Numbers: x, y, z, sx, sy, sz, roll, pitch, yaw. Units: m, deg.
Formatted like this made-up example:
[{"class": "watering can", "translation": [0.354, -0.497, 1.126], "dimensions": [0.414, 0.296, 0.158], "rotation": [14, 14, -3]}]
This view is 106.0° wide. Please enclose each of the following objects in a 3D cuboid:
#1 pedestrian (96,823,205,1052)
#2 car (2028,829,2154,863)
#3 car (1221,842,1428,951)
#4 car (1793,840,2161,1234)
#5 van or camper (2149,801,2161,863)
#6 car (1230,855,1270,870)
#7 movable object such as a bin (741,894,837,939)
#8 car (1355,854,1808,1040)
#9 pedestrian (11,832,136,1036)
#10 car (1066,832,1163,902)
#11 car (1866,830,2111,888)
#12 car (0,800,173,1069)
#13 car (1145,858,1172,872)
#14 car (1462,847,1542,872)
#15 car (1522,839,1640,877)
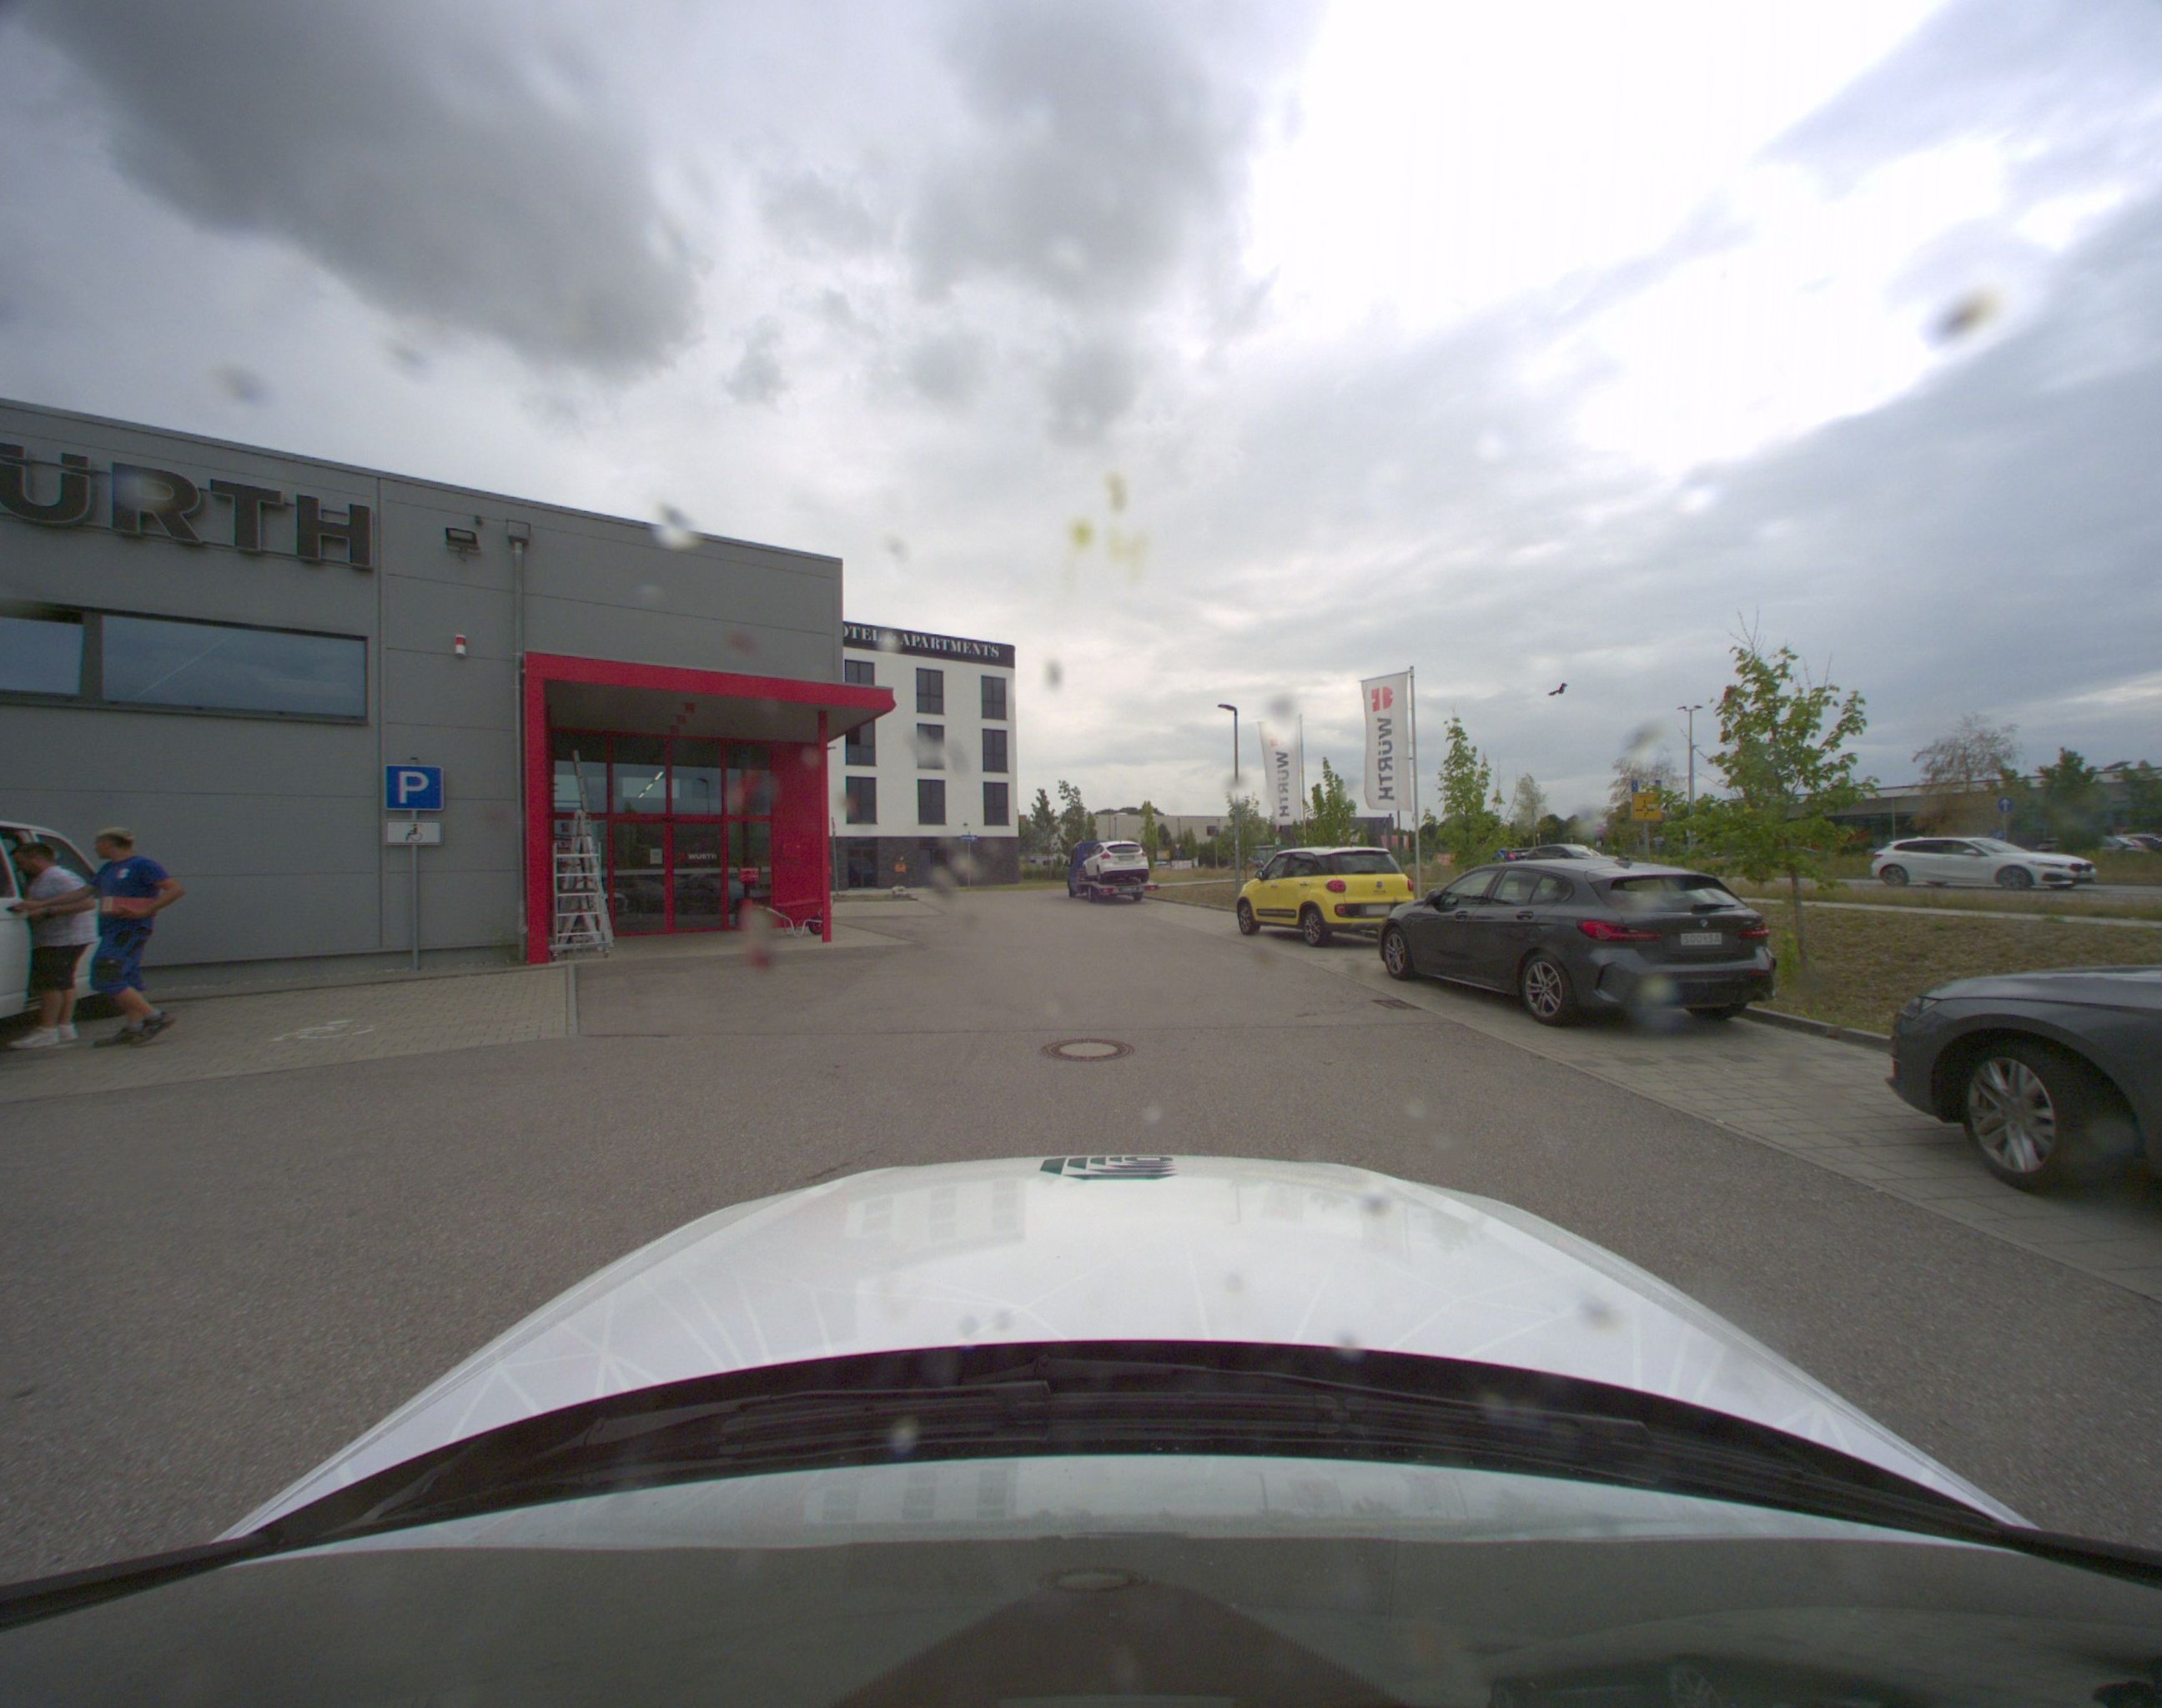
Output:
[{"class": "pedestrian", "translation": [-8.029, 0.678, 7.036], "dimensions": [0.617, 1.856, 0.592], "rotation": [-1, -1, 40]}, {"class": "car", "translation": [45.378, -0.346, 36.625], "dimensions": [4.141, 1.451, 1.986], "rotation": [0, -1, -13]}, {"class": "car", "translation": [4.229, 0.674, 14.929], "dimensions": [1.749, 1.683, 4.279], "rotation": [0, -1, -13]}, {"class": "car", "translation": [5.026, 0.679, 2.304], "dimensions": [1.744, 1.491, 4.625], "rotation": [0, 0, -5]}, {"class": "van or camper", "translation": [45.322, -0.921, 32.058], "dimensions": [3.984, 2.492, 2.284], "rotation": [-1, 0, -8]}, {"class": "car", "translation": [14.439, 0.737, 69.679], "dimensions": [1.717, 1.224, 3.980], "rotation": [-1, 0, -15]}, {"class": "movable object such as a bin", "translation": [-5.512, 1.162, 15.379], "dimensions": [1.590, 0.716, 0.795], "rotation": [-1, 0, -32]}, {"class": "car", "translation": [4.665, 0.736, 8.504], "dimensions": [1.745, 1.416, 4.295], "rotation": [0, -1, -7]}, {"class": "pedestrian", "translation": [-8.762, 0.662, 7.102], "dimensions": [0.587, 1.702, 0.357], "rotation": [-1, -1, -31]}, {"class": "car", "translation": [1.054, 0.500, 31.142], "dimensions": [2.194, 2.323, 7.831], "rotation": [-1, -1, -9]}, {"class": "car", "translation": [25.004, 0.165, 22.703], "dimensions": [1.796, 1.450, 4.232], "rotation": [-1, -1, -11]}, {"class": "car", "translation": [-9.643, 0.621, 6.624], "dimensions": [1.945, 2.014, 4.708], "rotation": [0, -1, -35]}, {"class": "car", "translation": [8.153, 1.158, 86.123], "dimensions": [1.569, 1.420, 3.471], "rotation": [-1, 0, -19]}, {"class": "car", "translation": [23.477, 0.316, 45.595], "dimensions": [1.718, 1.324, 3.978], "rotation": [-1, 0, -16]}, {"class": "car", "translation": [19.335, 0.162, 31.728], "dimensions": [1.754, 1.354, 3.988], "rotation": [-1, 0, -9]}]
